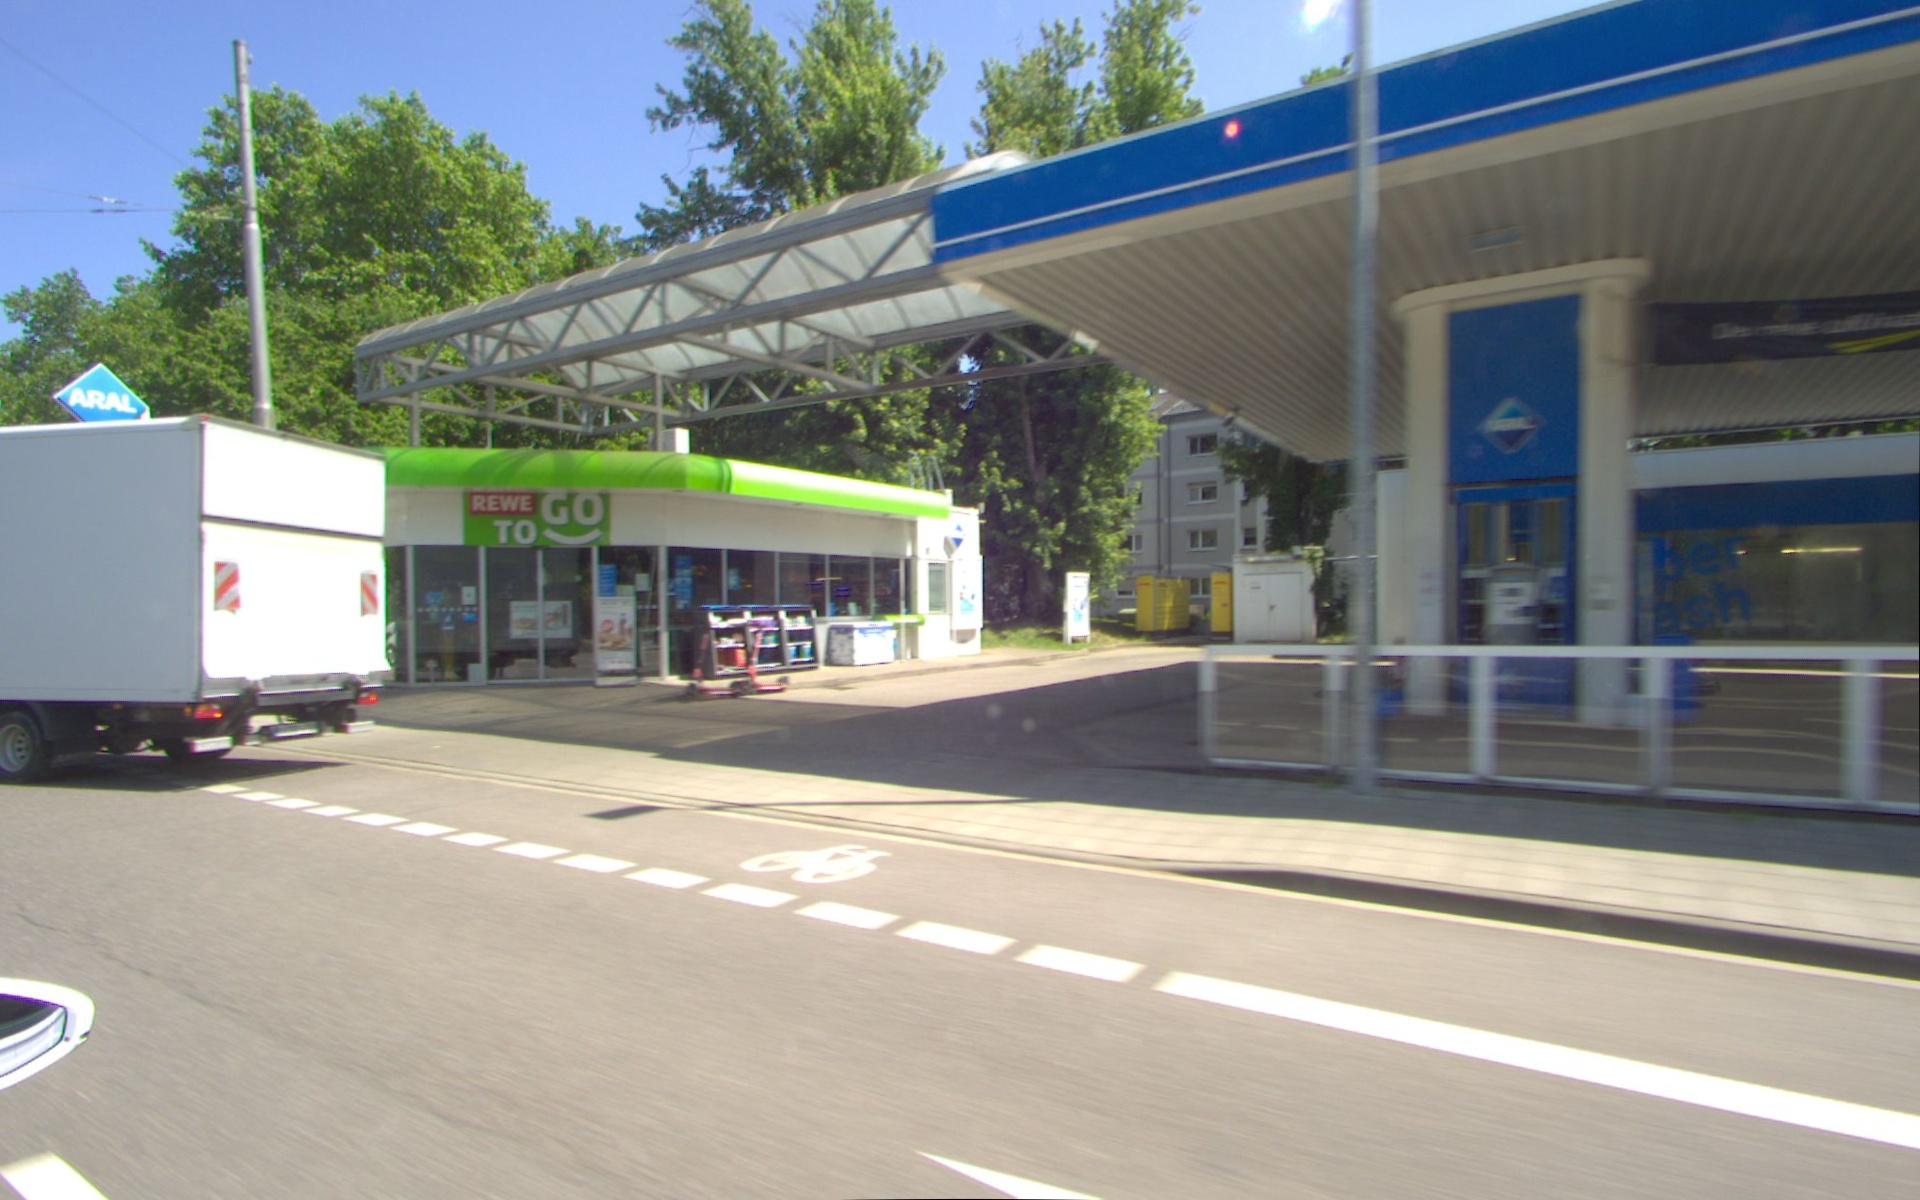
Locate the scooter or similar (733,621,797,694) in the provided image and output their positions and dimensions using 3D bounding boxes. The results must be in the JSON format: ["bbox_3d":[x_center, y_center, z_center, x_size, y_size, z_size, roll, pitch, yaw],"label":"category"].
[{"bbox_3d":[-3.317,0.962,17.109,0.378,1.192,1.132,0,0,33],"label":"scooter or similar"}]

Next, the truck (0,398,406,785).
[{"bbox_3d":[-10.236,-0.042,10.847,7.685,3.436,2.426,0,0,12],"label":"truck"}]
